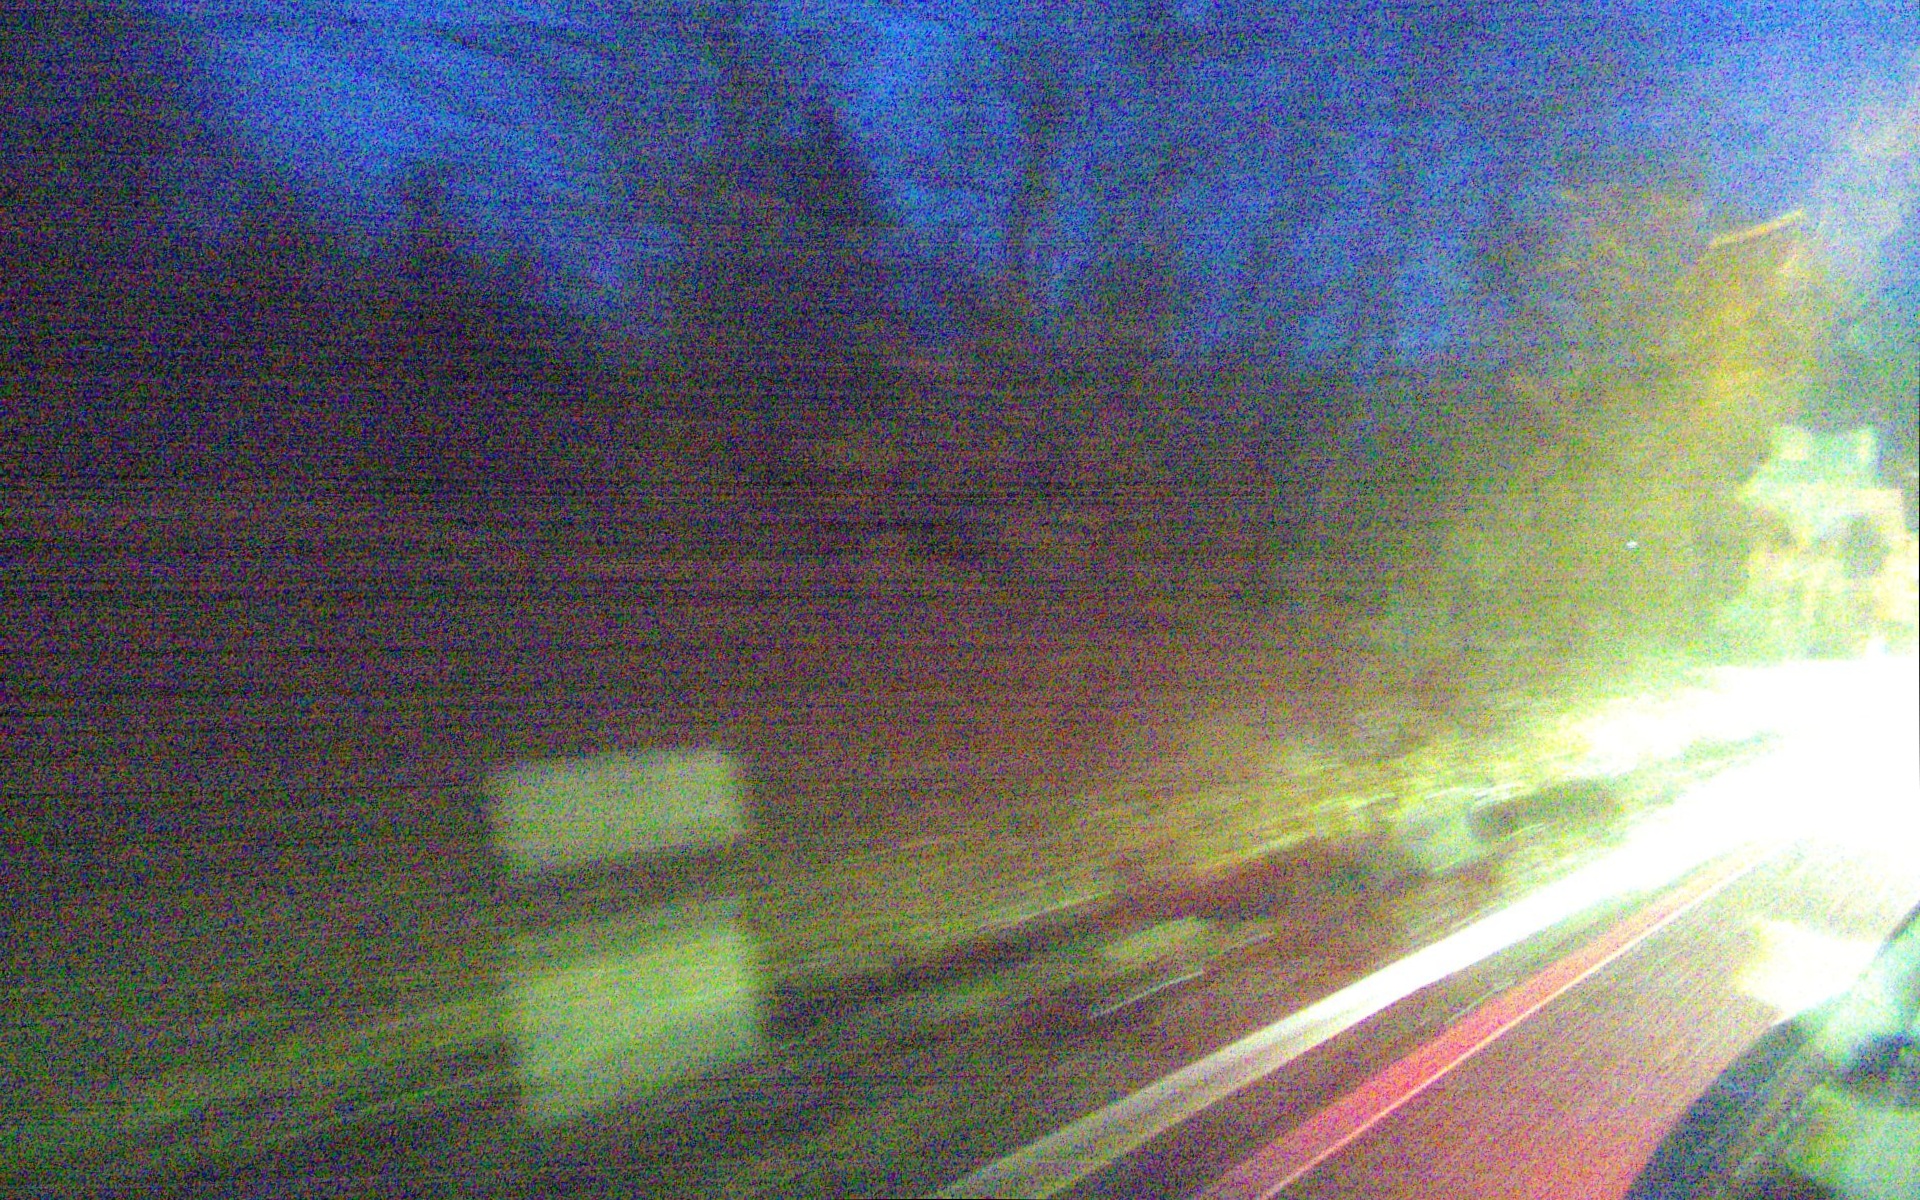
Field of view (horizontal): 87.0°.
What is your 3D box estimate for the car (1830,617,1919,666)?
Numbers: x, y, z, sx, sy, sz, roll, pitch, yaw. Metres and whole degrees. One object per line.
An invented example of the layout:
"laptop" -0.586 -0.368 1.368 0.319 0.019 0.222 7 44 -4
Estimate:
"car" 33.150 1.457 36.110 3.598 1.529 1.645 0 3 -21
